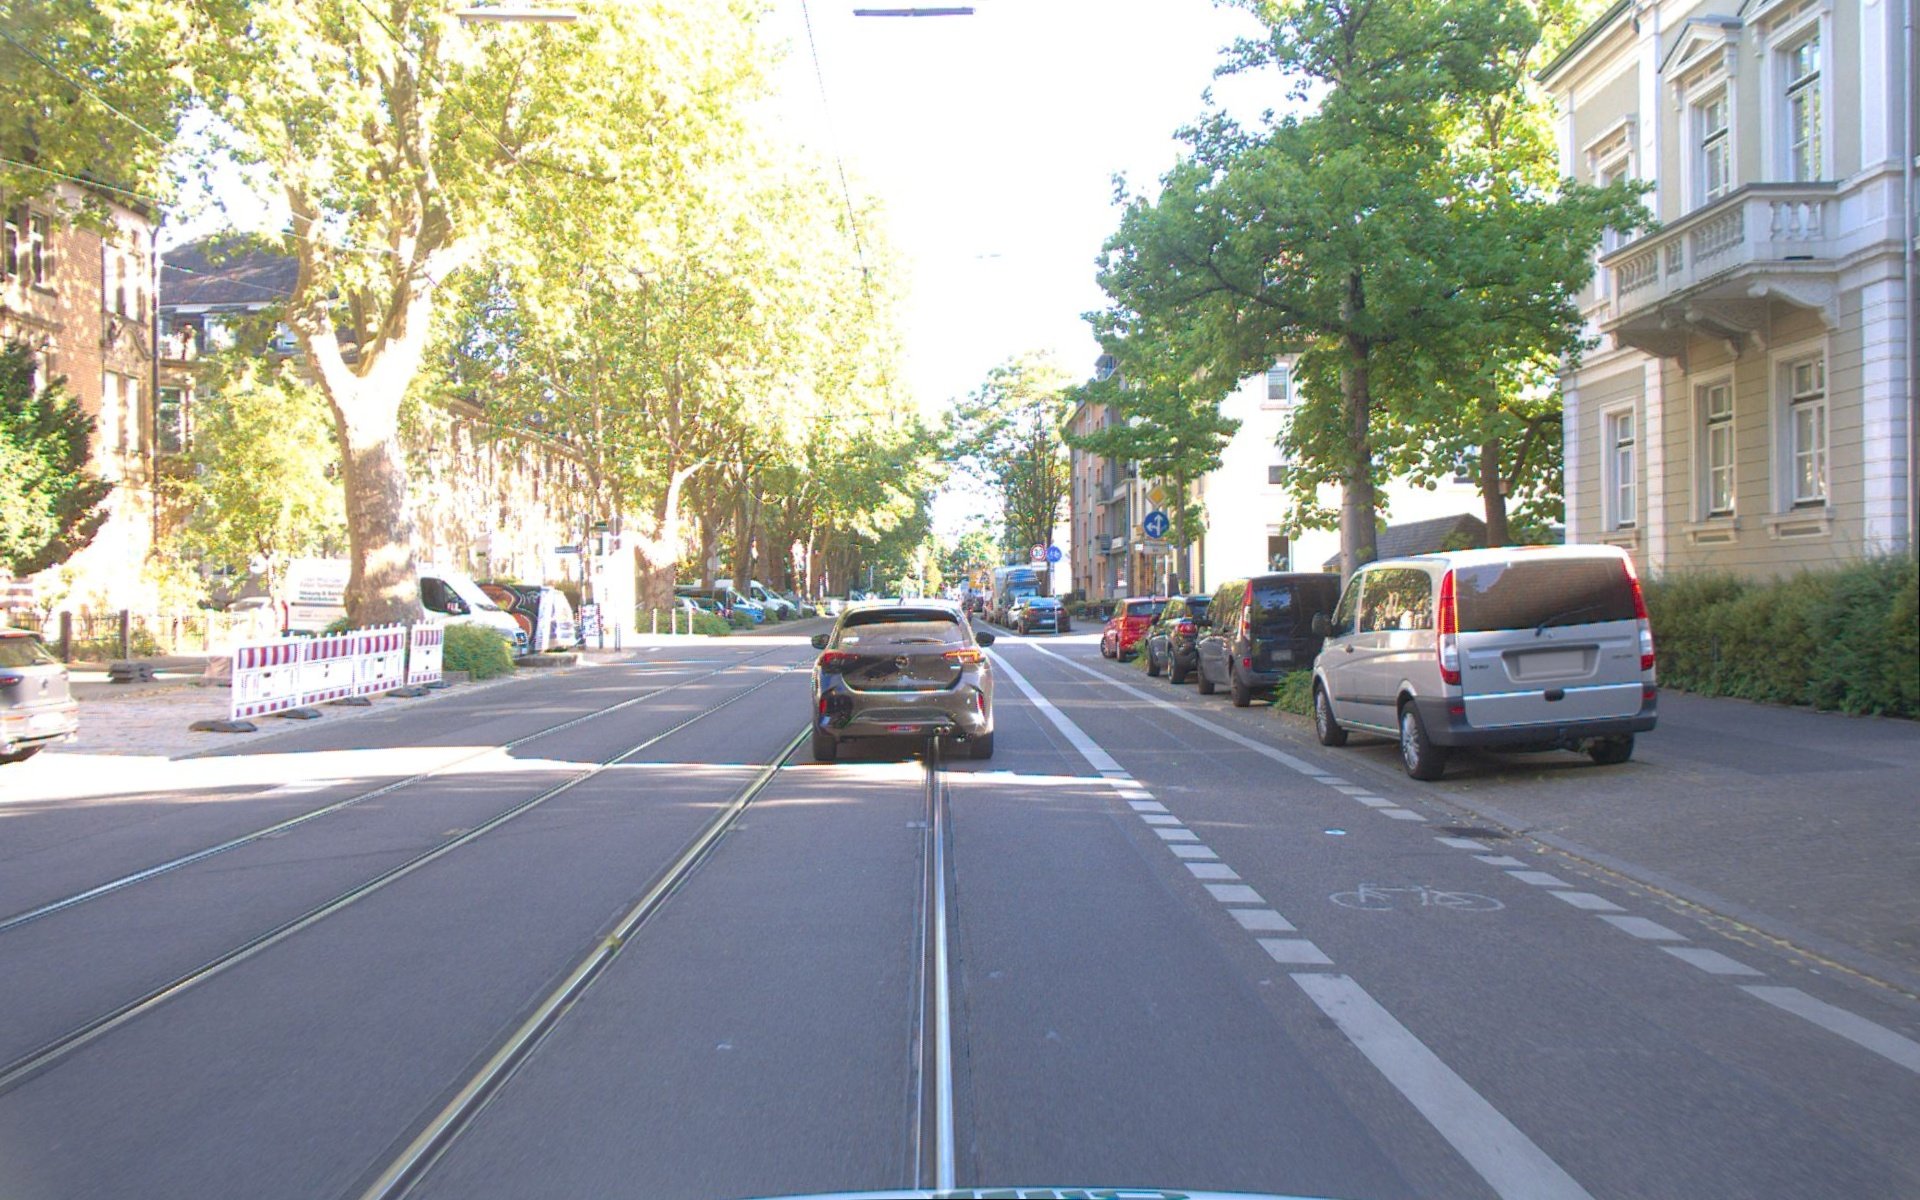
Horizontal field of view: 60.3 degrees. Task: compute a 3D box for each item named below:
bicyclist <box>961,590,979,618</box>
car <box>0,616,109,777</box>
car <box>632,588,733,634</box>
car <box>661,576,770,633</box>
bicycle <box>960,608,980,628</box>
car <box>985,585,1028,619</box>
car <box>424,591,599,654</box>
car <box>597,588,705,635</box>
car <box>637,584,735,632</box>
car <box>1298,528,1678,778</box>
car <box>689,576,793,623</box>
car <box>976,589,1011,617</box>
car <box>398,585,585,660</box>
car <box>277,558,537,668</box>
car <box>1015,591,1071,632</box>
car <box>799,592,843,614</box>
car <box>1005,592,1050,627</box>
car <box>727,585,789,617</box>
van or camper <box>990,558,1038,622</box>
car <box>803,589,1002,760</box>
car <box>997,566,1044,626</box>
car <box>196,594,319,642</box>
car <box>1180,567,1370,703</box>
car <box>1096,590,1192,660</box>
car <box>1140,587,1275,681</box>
[{"bbox_3d":[0.525,0.210,88.902,0.939,1.525,1.093,0,0,-2],"label":"bicyclist"},{"bbox_3d":[-10.875,0.909,16.377,3.906,1.490,1.854,0,0,-1],"label":"car"},{"bbox_3d":[-12.164,0.479,72.639,4.220,1.703,1.779,-4,0,-9],"label":"car"},{"bbox_3d":[-12.034,0.221,81.667,4.934,2.415,2.081,-4,0,-1],"label":"car"},{"bbox_3d":[0.532,0.958,88.937,0.948,1.016,2.582,0,0,-2],"label":"bicycle"},{"bbox_3d":[2.654,0.099,96.327,2.208,1.873,5.530,-2,0,-1],"label":"car"},{"bbox_3d":[-11.975,0.592,44.377,4.214,1.635,1.924,0,0,-4],"label":"car"},{"bbox_3d":[-12.684,0.474,68.077,4.220,1.621,1.779,-4,0,-9],"label":"car"},{"bbox_3d":[-12.368,0.364,74.964,4.220,1.872,1.779,-4,0,-9],"label":"car"},{"bbox_3d":[4.701,0.416,15.613,1.846,1.883,4.966,-3,0,-1],"label":"car"},{"bbox_3d":[-12.473,-0.041,94.375,5.521,2.638,2.197,0,0,3],"label":"car"},{"bbox_3d":[2.371,0.184,117.689,2.208,1.873,5.530,-2,0,-1],"label":"car"},{"bbox_3d":[-11.763,0.554,41.748,4.214,1.832,1.924,0,0,-4],"label":"car"},{"bbox_3d":[-11.862,0.275,35.777,4.934,2.299,2.084,0,0,-4],"label":"car"},{"bbox_3d":[3.252,0.450,65.276,1.846,1.459,4.529,-3,0,-1],"label":"car"},{"bbox_3d":[-13.178,0.285,157.124,3.902,2.049,2.001,0,0,5],"label":"car"},{"bbox_3d":[3.064,0.455,75.367,1.767,1.459,3.999,-2,-1,-1],"label":"car"},{"bbox_3d":[-13.134,0.061,107.406,3.914,2.049,1.995,0,0,-10],"label":"car"},{"bbox_3d":[2.856,-0.518,89.133,2.208,3.272,5.530,-2,0,-1],"label":"van or camper"},{"bbox_3d":[-0.526,0.647,16.420,1.727,1.486,3.950,0,0,-1],"label":"car"},{"bbox_3d":[2.990,-0.229,82.570,2.043,2.820,4.696,-2,1,-1],"label":"car"},{"bbox_3d":[-25.035,0.618,59.160,1.816,1.620,4.744,0,0,9],"label":"car"},{"bbox_3d":[4.580,0.471,24.754,1.847,1.797,4.677,-1,0,-1],"label":"car"},{"bbox_3d":[4.303,0.557,39.188,1.668,1.448,3.977,-4,0,-1],"label":"car"},{"bbox_3d":[4.466,0.585,30.430,1.677,1.540,4.035,-3,0,-2],"label":"car"}]
